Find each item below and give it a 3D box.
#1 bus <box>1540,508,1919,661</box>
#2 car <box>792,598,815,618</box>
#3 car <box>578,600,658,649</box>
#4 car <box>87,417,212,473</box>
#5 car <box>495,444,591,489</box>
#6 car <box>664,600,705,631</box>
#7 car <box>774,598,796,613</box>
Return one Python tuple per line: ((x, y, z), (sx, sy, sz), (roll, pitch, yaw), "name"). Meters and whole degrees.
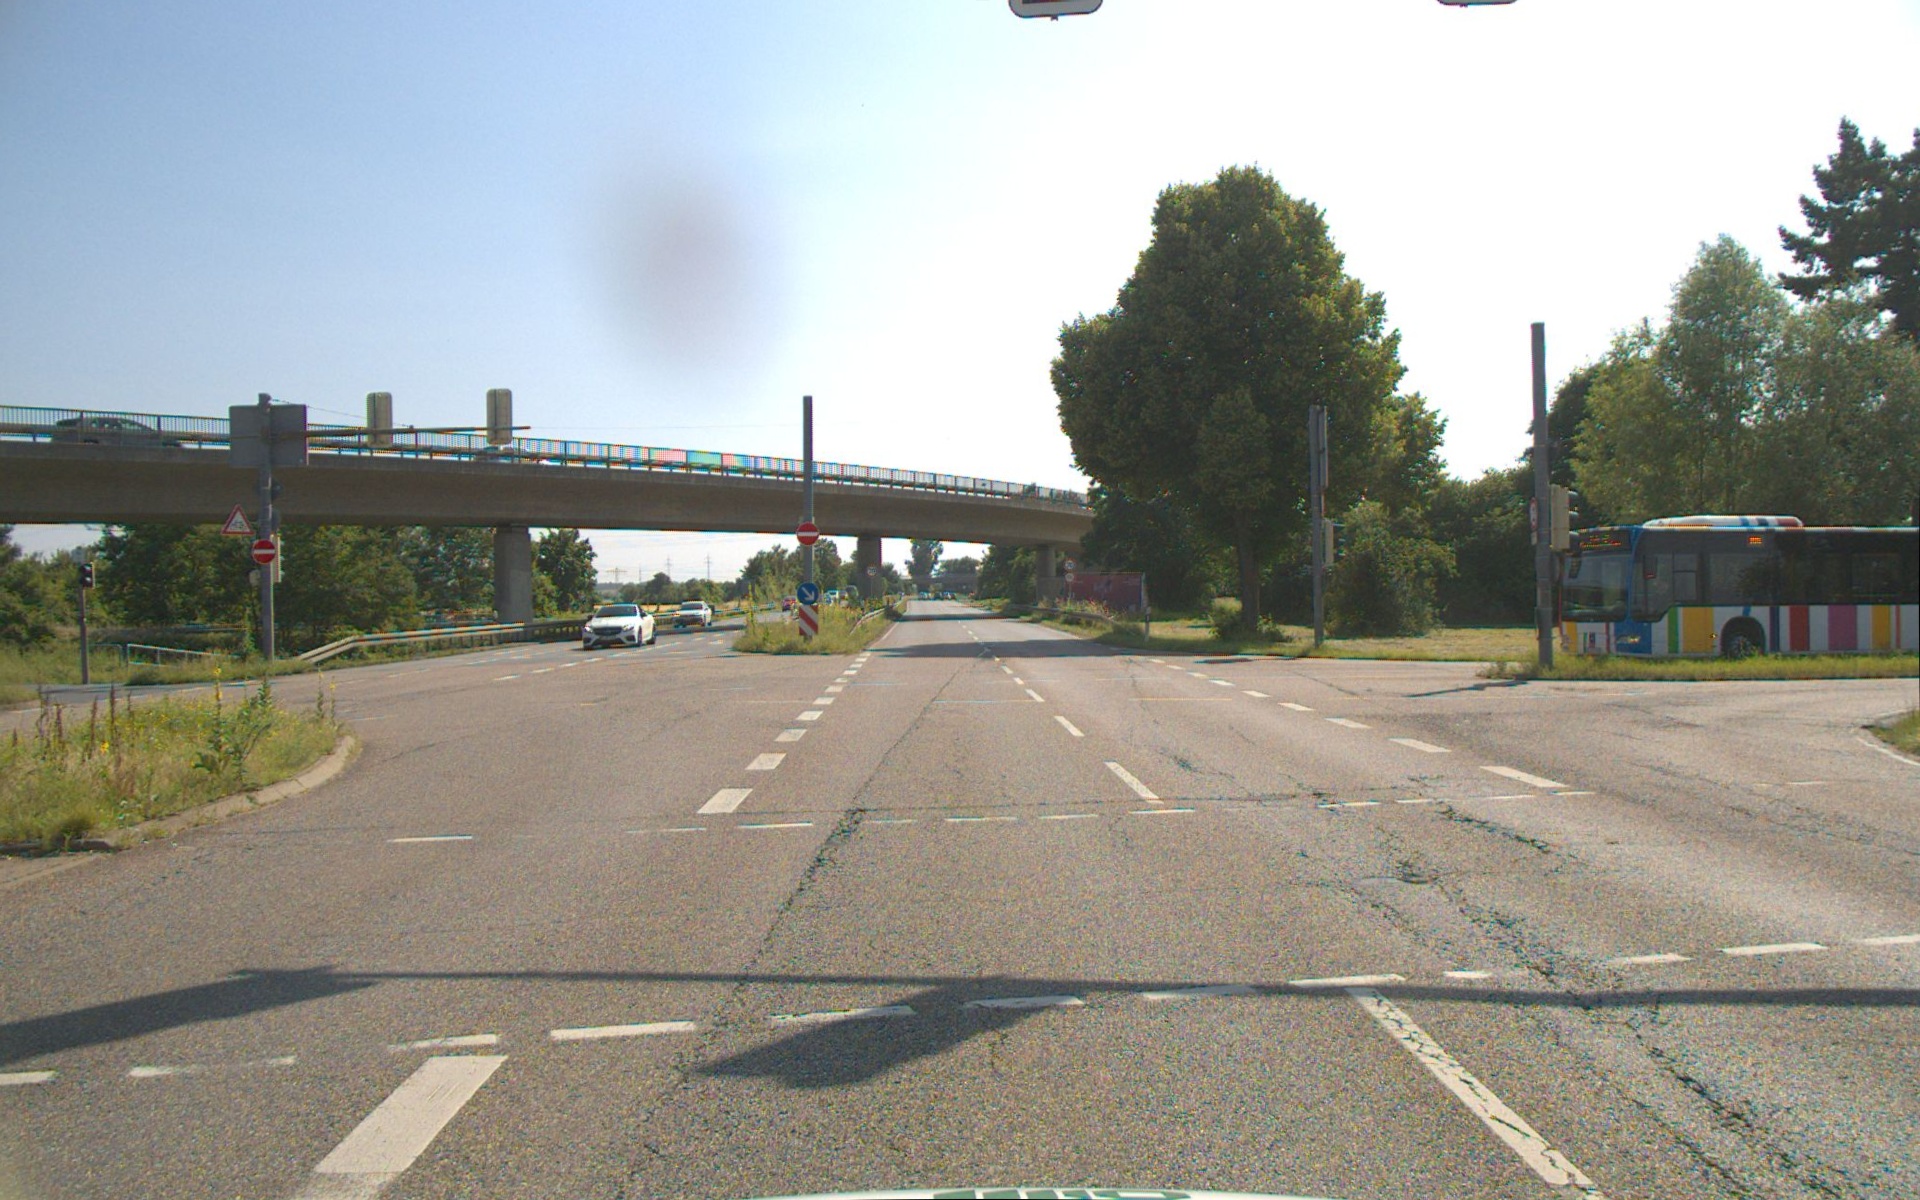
((18.451, -0.421, 35.610), (11.745, 2.927, 2.929), (-2, 0, -16), "bus")
((-12.826, 0.651, 135.393), (1.525, 1.567, 3.999), (-2, 0, -1), "car")
((-11.368, 0.792, 55.238), (1.819, 1.473, 4.239), (-3, 0, -2), "car")
((-26.738, -5.079, 54.614), (1.512, 1.503, 3.375), (-3, -1, 38), "car")
((-17.382, -5.552, 69.095), (1.707, 1.495, 3.740), (1, -1, 33), "car")
((-15.638, 0.877, 93.930), (1.754, 1.656, 3.998), (-2, 0, -2), "car")
((-19.107, 0.565, 180.559), (1.953, 1.585, 3.999), (-2, 0, -2), "car")
